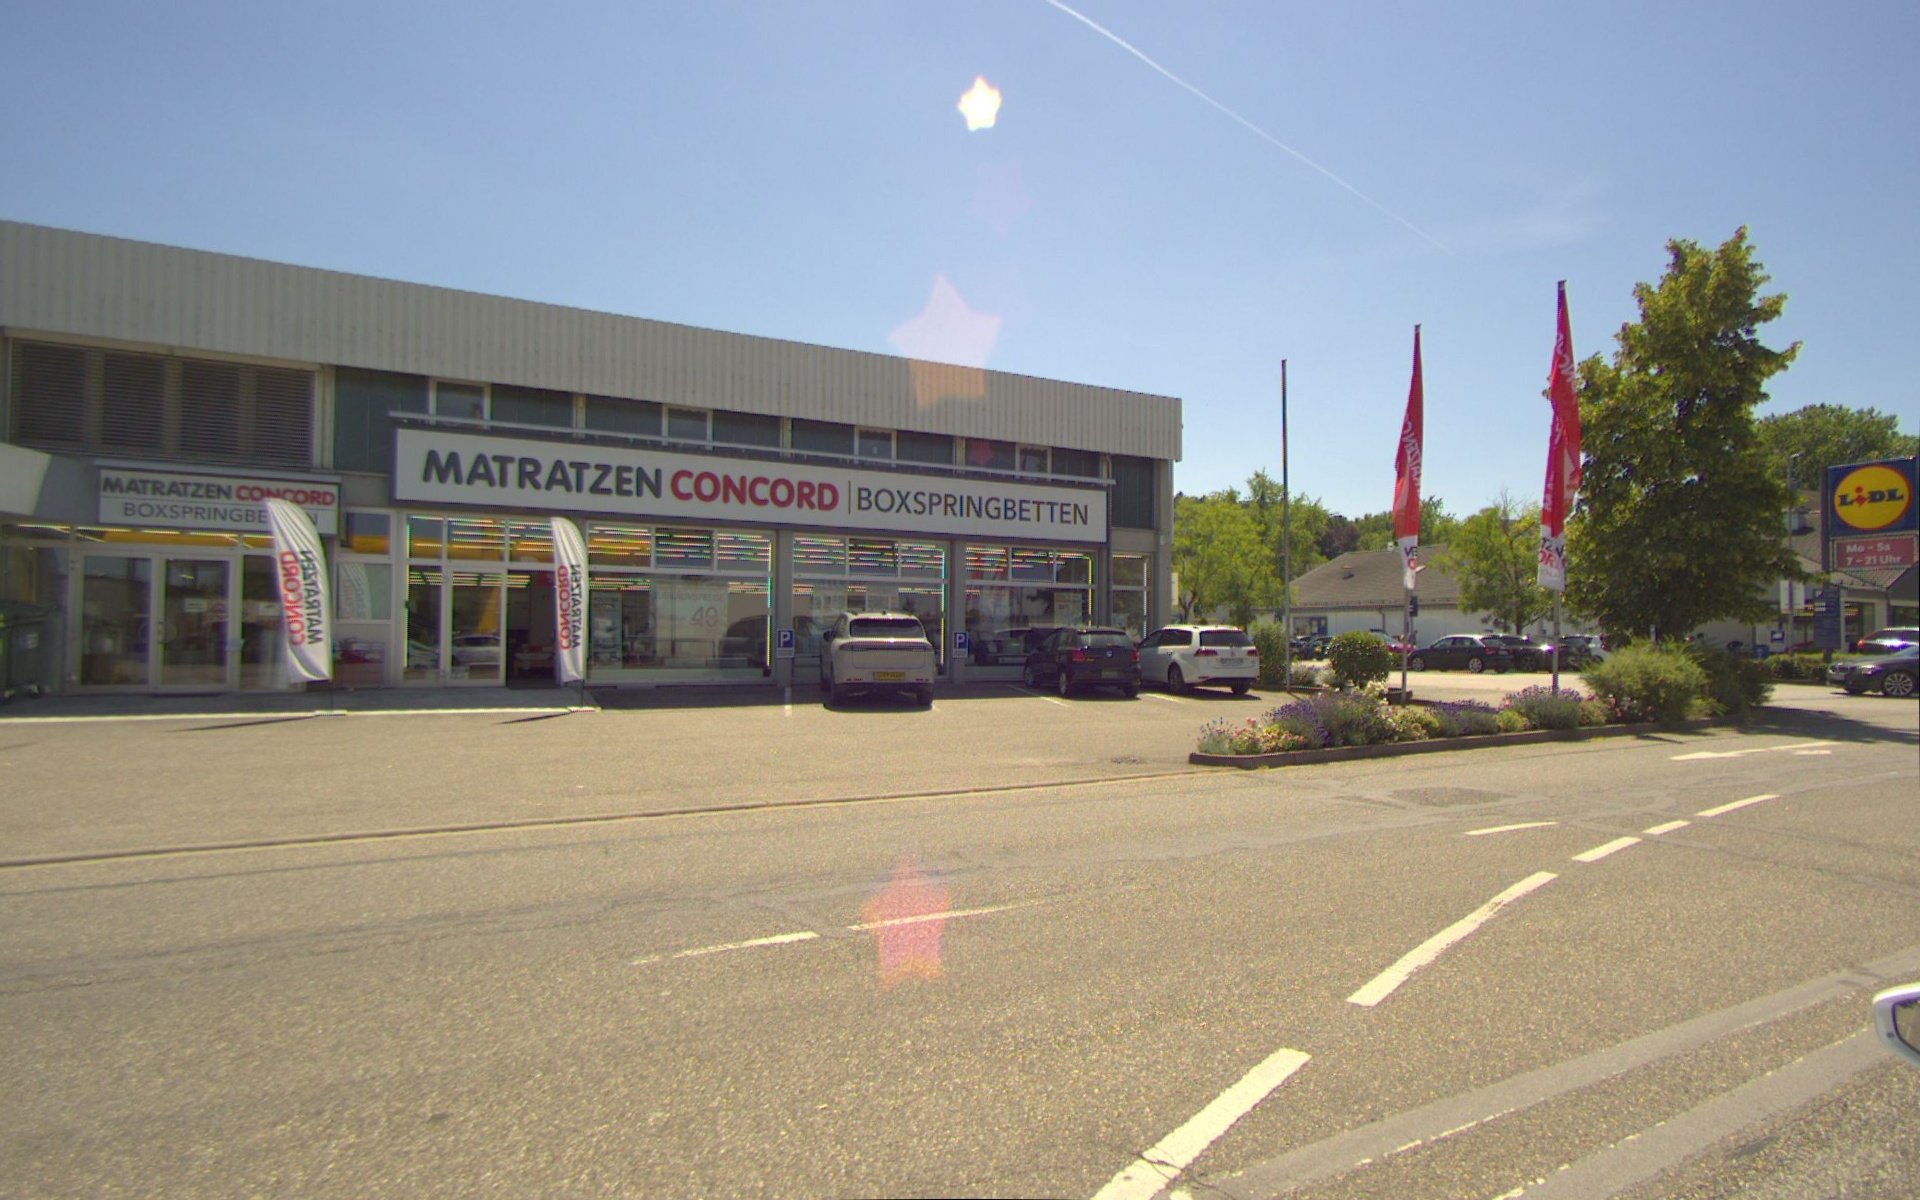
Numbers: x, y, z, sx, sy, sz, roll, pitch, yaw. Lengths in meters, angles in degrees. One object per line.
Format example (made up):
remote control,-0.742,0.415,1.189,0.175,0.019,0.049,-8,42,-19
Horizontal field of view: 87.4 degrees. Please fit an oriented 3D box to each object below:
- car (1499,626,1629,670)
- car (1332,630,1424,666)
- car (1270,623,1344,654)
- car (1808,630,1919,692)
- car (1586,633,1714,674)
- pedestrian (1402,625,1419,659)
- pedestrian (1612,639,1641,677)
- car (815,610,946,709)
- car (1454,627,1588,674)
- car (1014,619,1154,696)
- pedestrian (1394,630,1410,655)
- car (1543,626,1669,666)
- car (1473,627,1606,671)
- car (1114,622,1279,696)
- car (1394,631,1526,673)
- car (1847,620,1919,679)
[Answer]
car,25.687,2.002,42.857,2.090,1.677,4.291,2,-1,-30
car,18.763,2.125,45.241,1.631,1.506,3.589,2,-1,-30
car,19.767,2.170,57.176,3.950,1.622,1.786,2,-1,-28
car,23.768,1.511,24.278,4.594,1.419,1.940,2,-1,12
car,30.152,2.321,44.017,1.806,1.550,4.291,2,-1,-30
pedestrian,24.382,2.262,54.381,0.738,1.830,0.772,2,0,20
pedestrian,26.811,2.324,40.385,0.877,1.502,0.805,1,-1,40
car,-1.669,1.053,19.432,1.965,1.686,4.535,1,-1,-12
car,21.651,1.915,38.922,1.752,1.610,4.208,2,-1,-35
car,2.599,1.192,21.896,1.965,1.494,3.629,1,-1,-12
pedestrian,29.521,2.846,67.114,0.626,1.601,0.671,2,-1,-29
car,28.040,1.962,43.732,1.806,1.550,4.291,2,-1,-30
car,23.507,1.966,40.882,1.893,1.627,4.284,2,-1,-35
car,5.235,1.268,22.850,1.946,1.466,4.185,1,-1,-14
car,19.068,1.966,38.468,1.752,1.387,4.208,2,-1,-35
car,30.554,1.571,30.717,2.068,1.785,4.698,2,-1,-22
